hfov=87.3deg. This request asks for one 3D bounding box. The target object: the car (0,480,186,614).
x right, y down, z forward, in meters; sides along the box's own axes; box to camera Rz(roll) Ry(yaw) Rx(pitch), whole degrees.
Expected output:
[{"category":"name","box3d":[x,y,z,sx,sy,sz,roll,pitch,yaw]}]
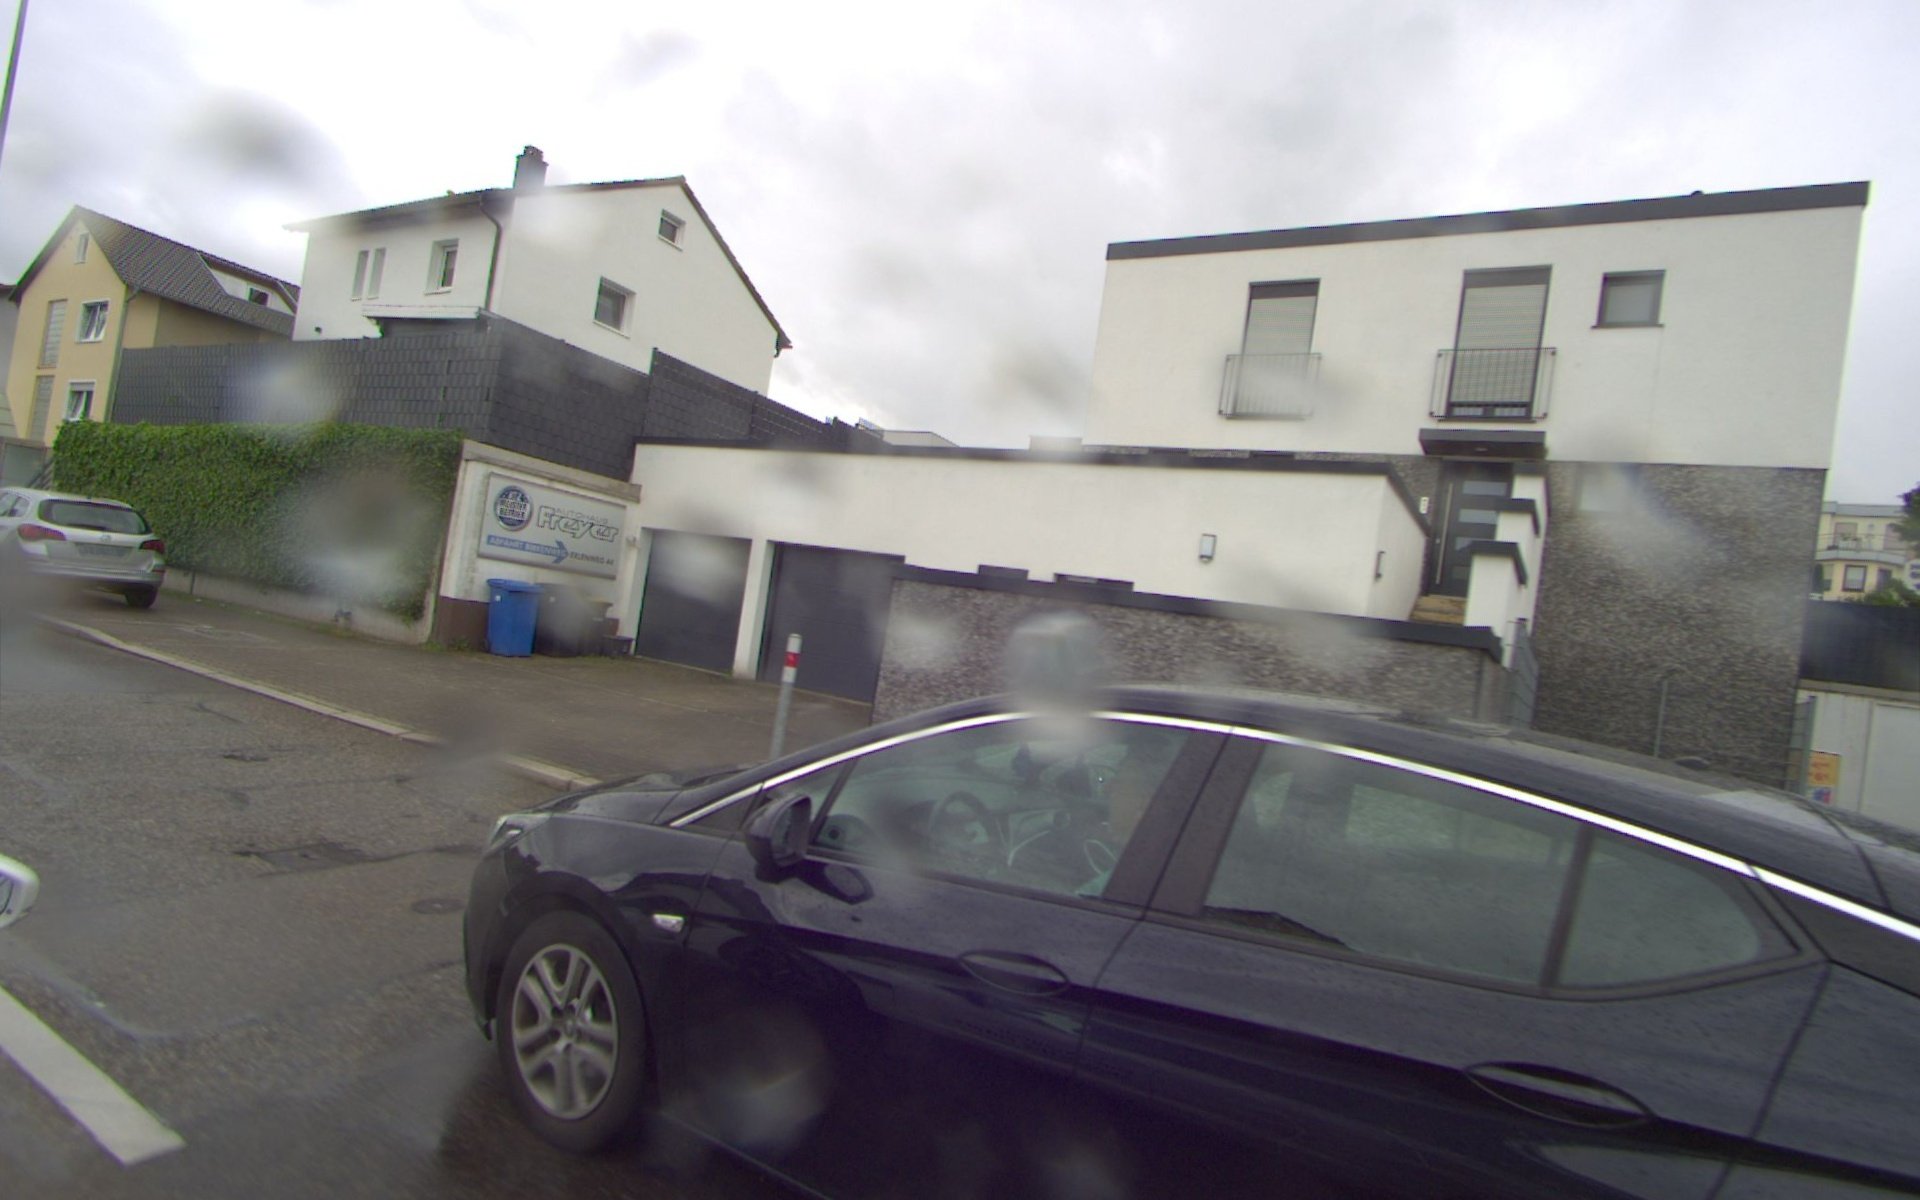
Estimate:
[{"category":"car","box3d":[-13.383,-0.864,14.681,4.459,1.527,1.704,7,-2,32]}]

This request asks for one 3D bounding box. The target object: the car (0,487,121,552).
[{"category":"car","box3d":[-26.847,-2.417,28.692,1.837,1.450,3.995,7,-1,30]}]

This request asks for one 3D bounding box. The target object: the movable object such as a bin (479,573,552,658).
[{"category":"movable object such as a bin","box3d":[-6.390,0.229,14.468,0.656,1.119,0.596,8,2,31]}]

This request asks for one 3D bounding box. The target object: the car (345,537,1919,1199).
[{"category":"car","box3d":[0.284,0.815,2.833,3.934,1.466,1.760,7,-2,32]}]
